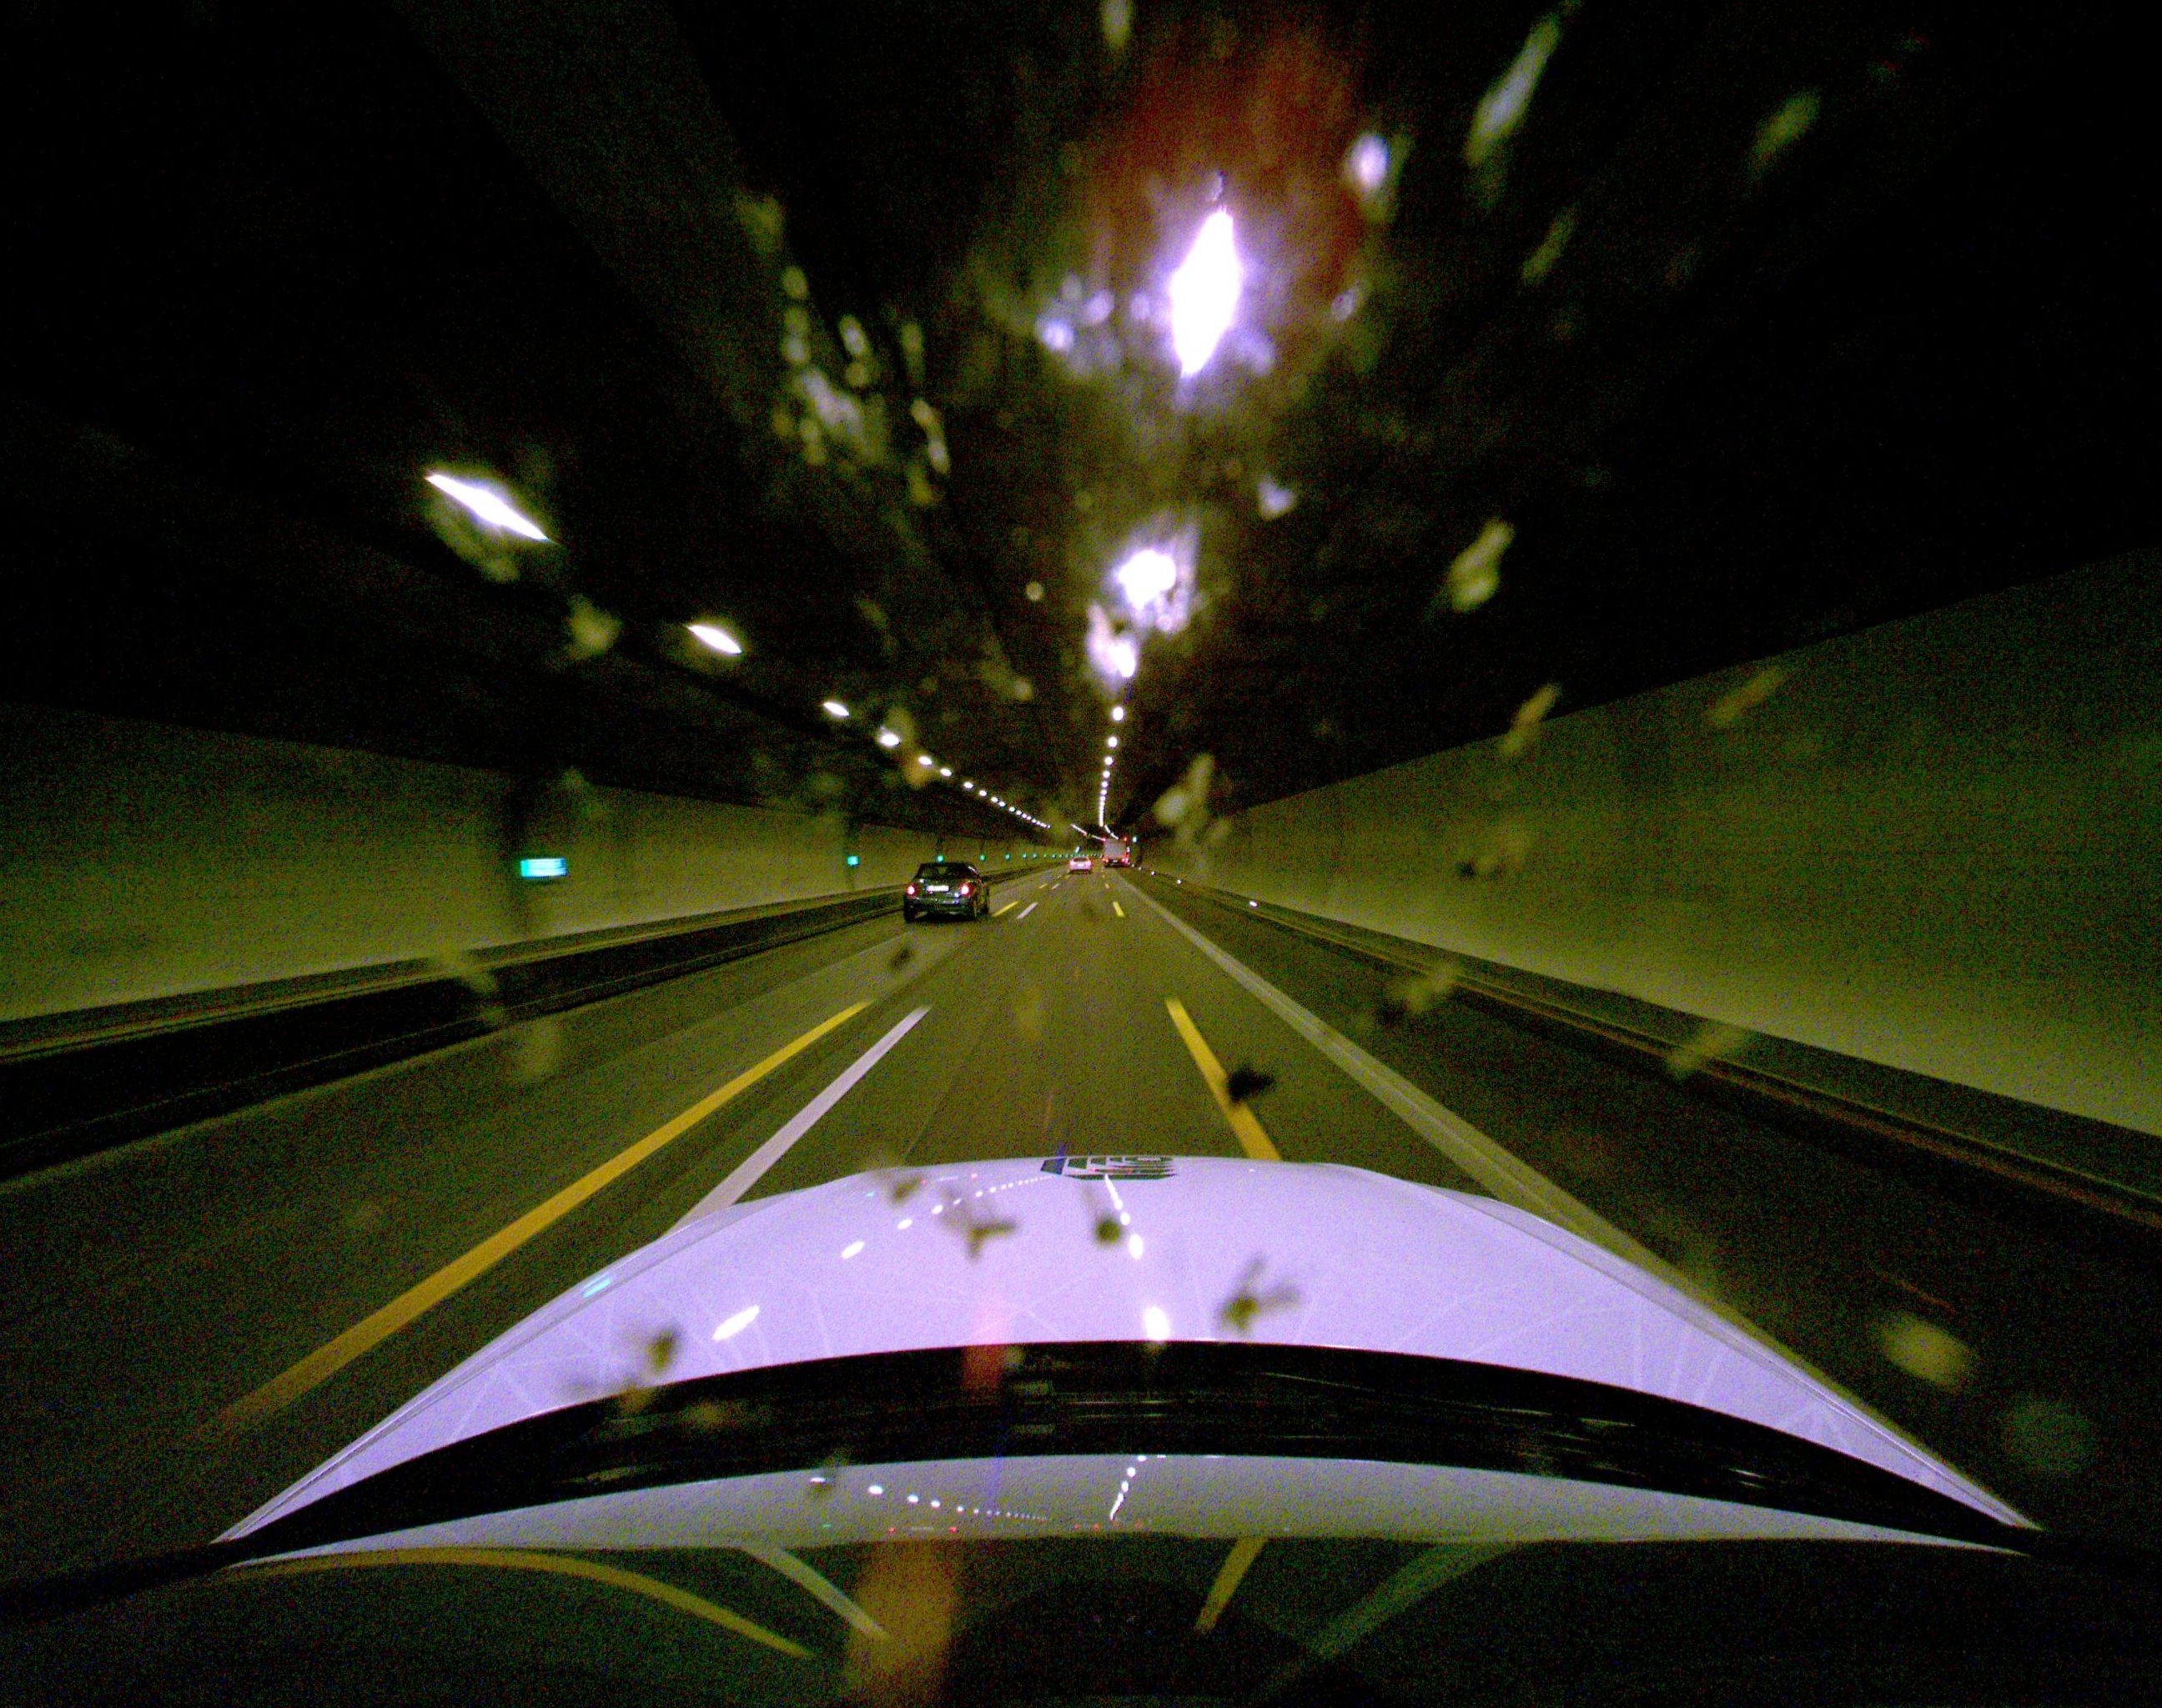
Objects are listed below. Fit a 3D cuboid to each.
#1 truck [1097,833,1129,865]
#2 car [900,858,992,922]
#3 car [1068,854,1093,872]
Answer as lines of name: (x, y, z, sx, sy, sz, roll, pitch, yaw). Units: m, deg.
truck: (3.947, -0.590, 99.275, 3.578, 3.650, 10.729, -1, 0, 3)
car: (-3.272, 0.830, 20.473, 1.684, 1.417, 3.921, -1, 0, -1)
car: (-0.049, 0.754, 68.021, 1.988, 1.413, 4.740, -1, 0, -1)
